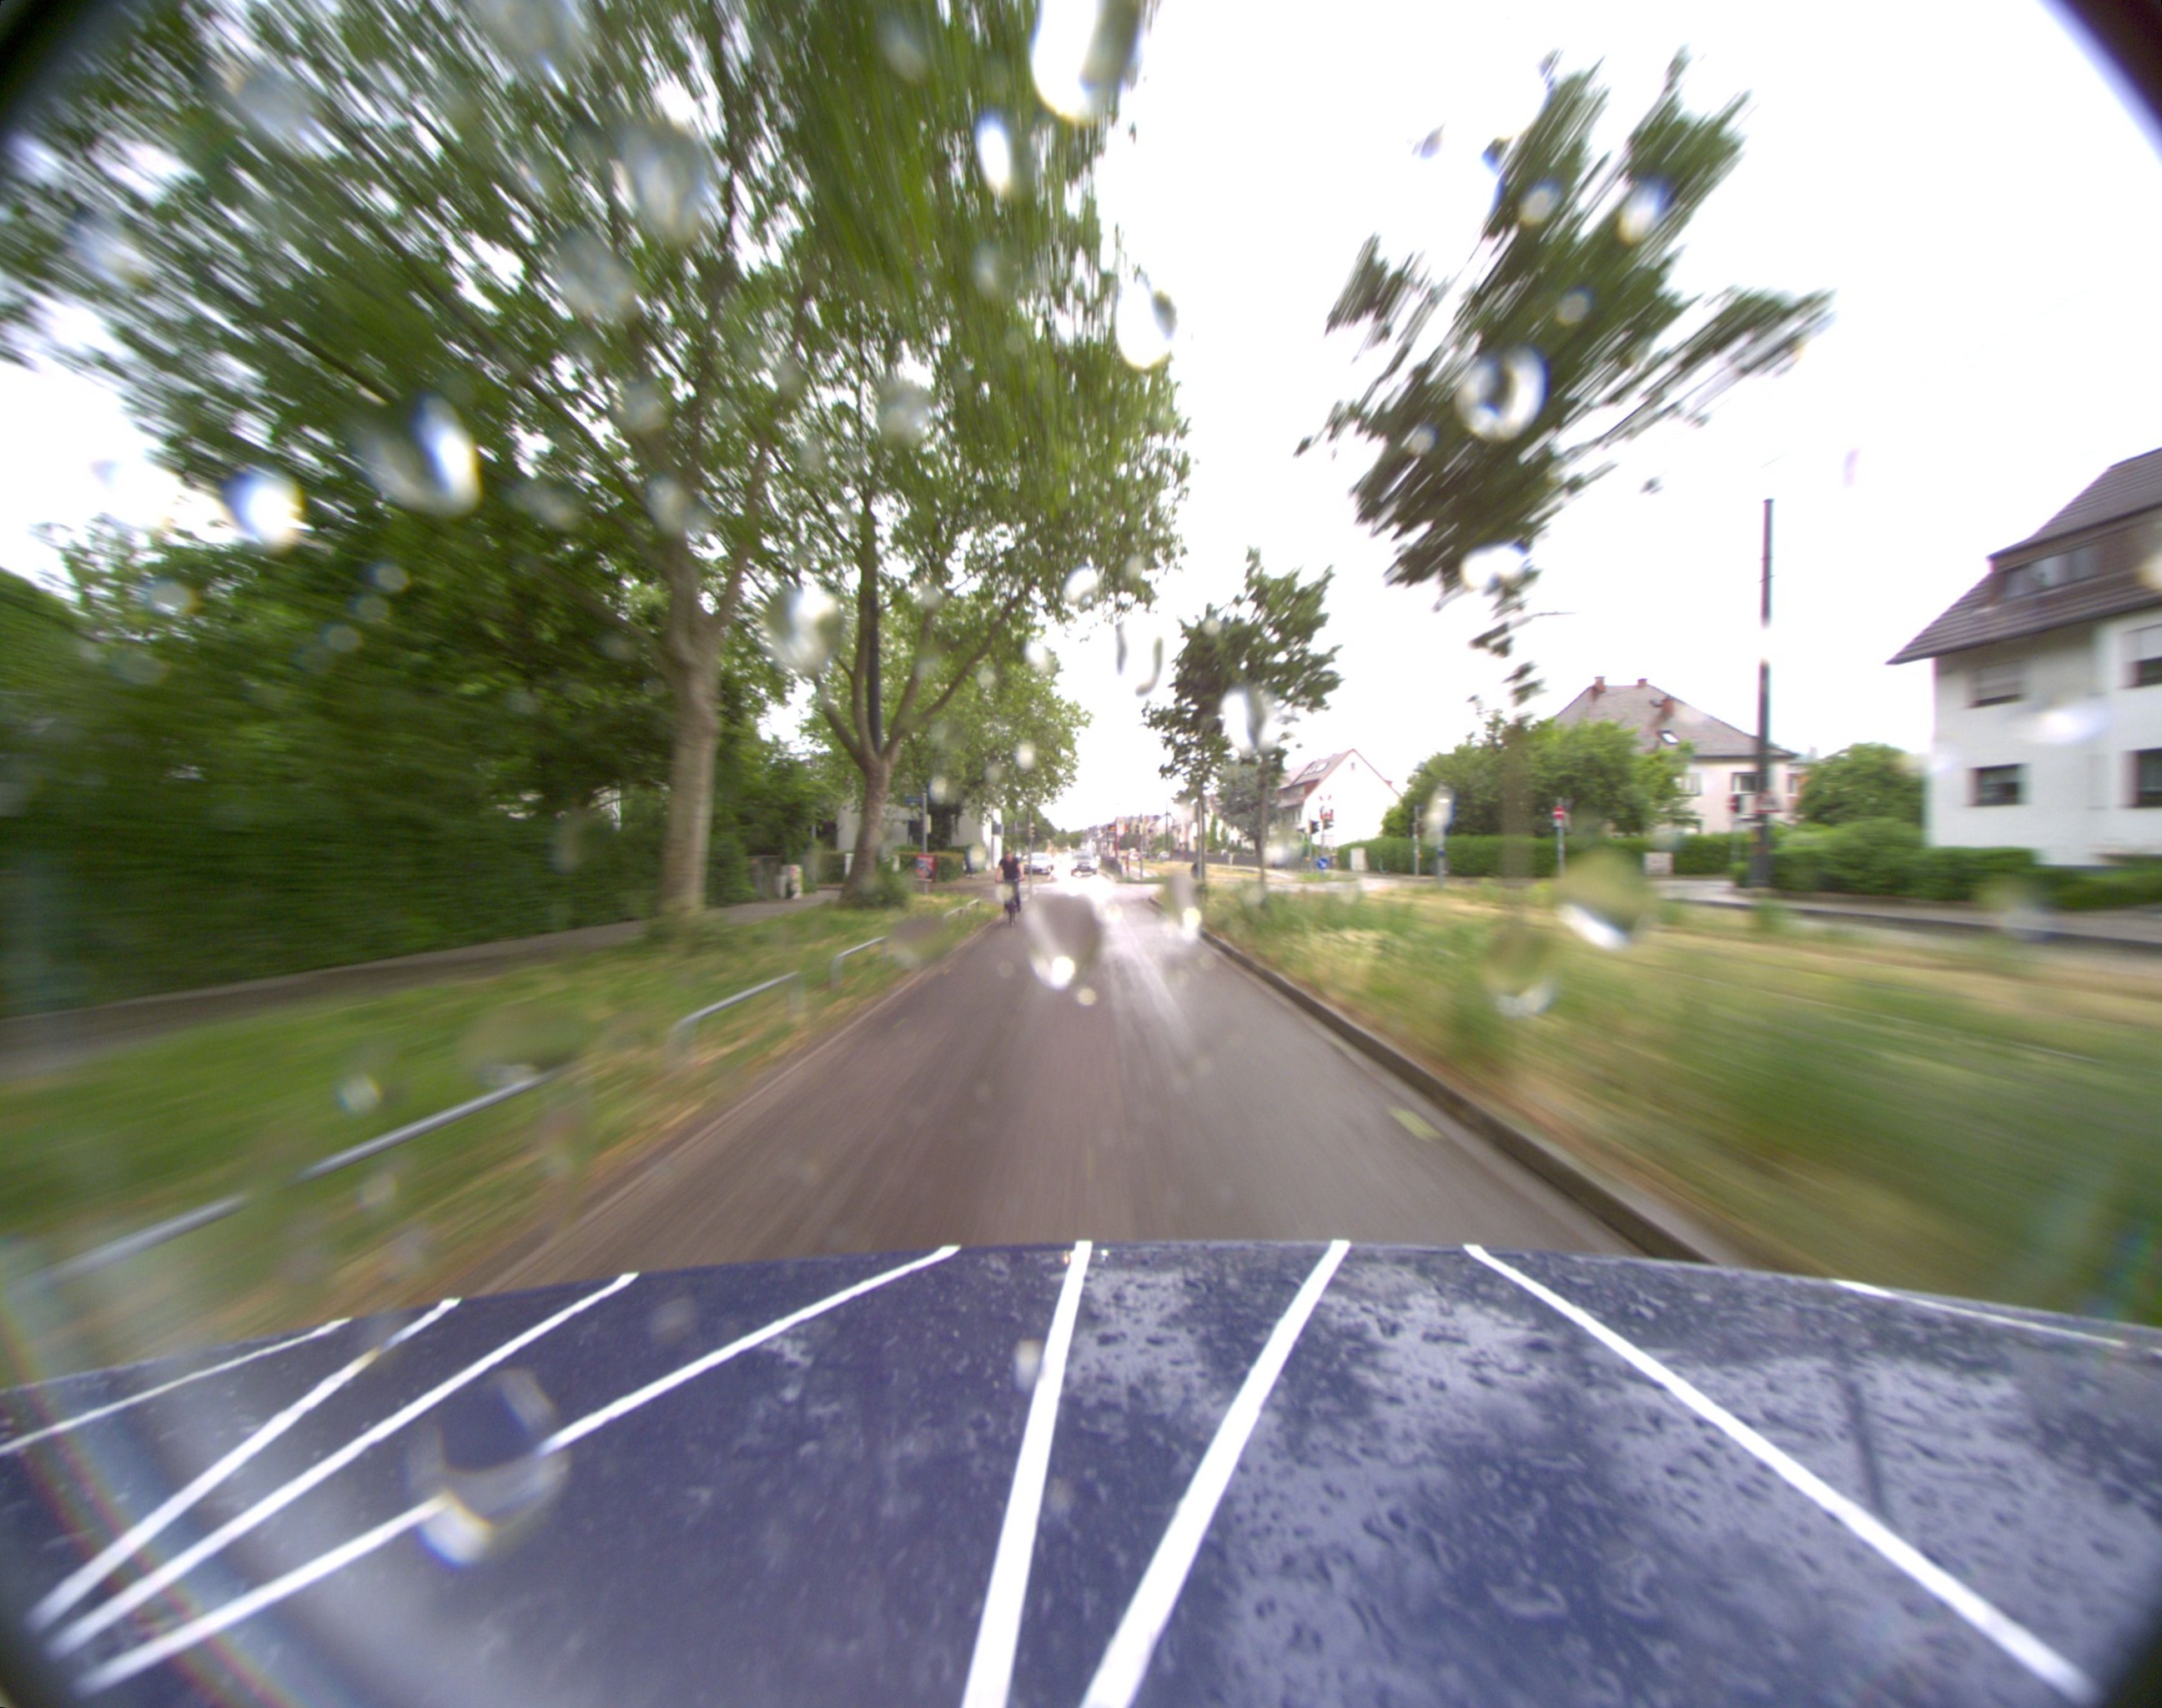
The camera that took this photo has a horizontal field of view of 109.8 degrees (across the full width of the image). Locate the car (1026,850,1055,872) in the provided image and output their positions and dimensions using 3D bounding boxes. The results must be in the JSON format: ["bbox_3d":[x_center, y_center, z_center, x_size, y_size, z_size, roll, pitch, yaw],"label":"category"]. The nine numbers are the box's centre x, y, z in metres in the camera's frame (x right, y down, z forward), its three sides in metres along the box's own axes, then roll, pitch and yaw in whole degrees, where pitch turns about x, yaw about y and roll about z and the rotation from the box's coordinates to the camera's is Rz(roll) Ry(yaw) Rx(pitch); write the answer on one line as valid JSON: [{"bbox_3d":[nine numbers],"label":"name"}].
[{"bbox_3d":[-2.842,0.467,53.792,1.780,1.477,4.000,2,0,0],"label":"car"}]

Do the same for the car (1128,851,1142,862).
[{"bbox_3d":[9.777,0.397,137.171,1.999,2.002,3.998,0,0,-4],"label":"car"}]

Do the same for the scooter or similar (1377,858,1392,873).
[{"bbox_3d":[18.390,0.677,46.045,0.347,0.905,1.258,0,0,-4],"label":"scooter or similar"}]

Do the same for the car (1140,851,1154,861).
[{"bbox_3d":[12.678,0.381,146.505,2.000,2.002,3.997,0,0,-6],"label":"car"}]

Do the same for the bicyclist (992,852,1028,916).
[{"bbox_3d":[-1.643,0.680,17.746,0.675,1.421,0.754,-3,1,1],"label":"bicyclist"}]

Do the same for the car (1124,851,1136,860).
[{"bbox_3d":[10.817,0.386,167.506,2.000,2.002,3.997,0,0,-6],"label":"car"}]

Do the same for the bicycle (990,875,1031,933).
[{"bbox_3d":[-1.617,1.122,17.787,0.675,1.136,2.445,-3,1,1],"label":"bicycle"}]

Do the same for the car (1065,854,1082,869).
[{"bbox_3d":[-0.757,0.778,82.111,1.780,1.477,4.000,2,0,0],"label":"car"}]

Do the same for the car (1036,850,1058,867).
[{"bbox_3d":[-3.130,0.432,70.452,1.780,1.477,4.000,2,0,0],"label":"car"}]

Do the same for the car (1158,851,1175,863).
[{"bbox_3d":[14.028,0.437,125.137,1.999,2.002,3.998,0,0,-5],"label":"car"}]

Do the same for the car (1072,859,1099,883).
[{"bbox_3d":[0.296,1.142,52.511,1.780,1.477,4.000,2,0,0],"label":"car"}]
